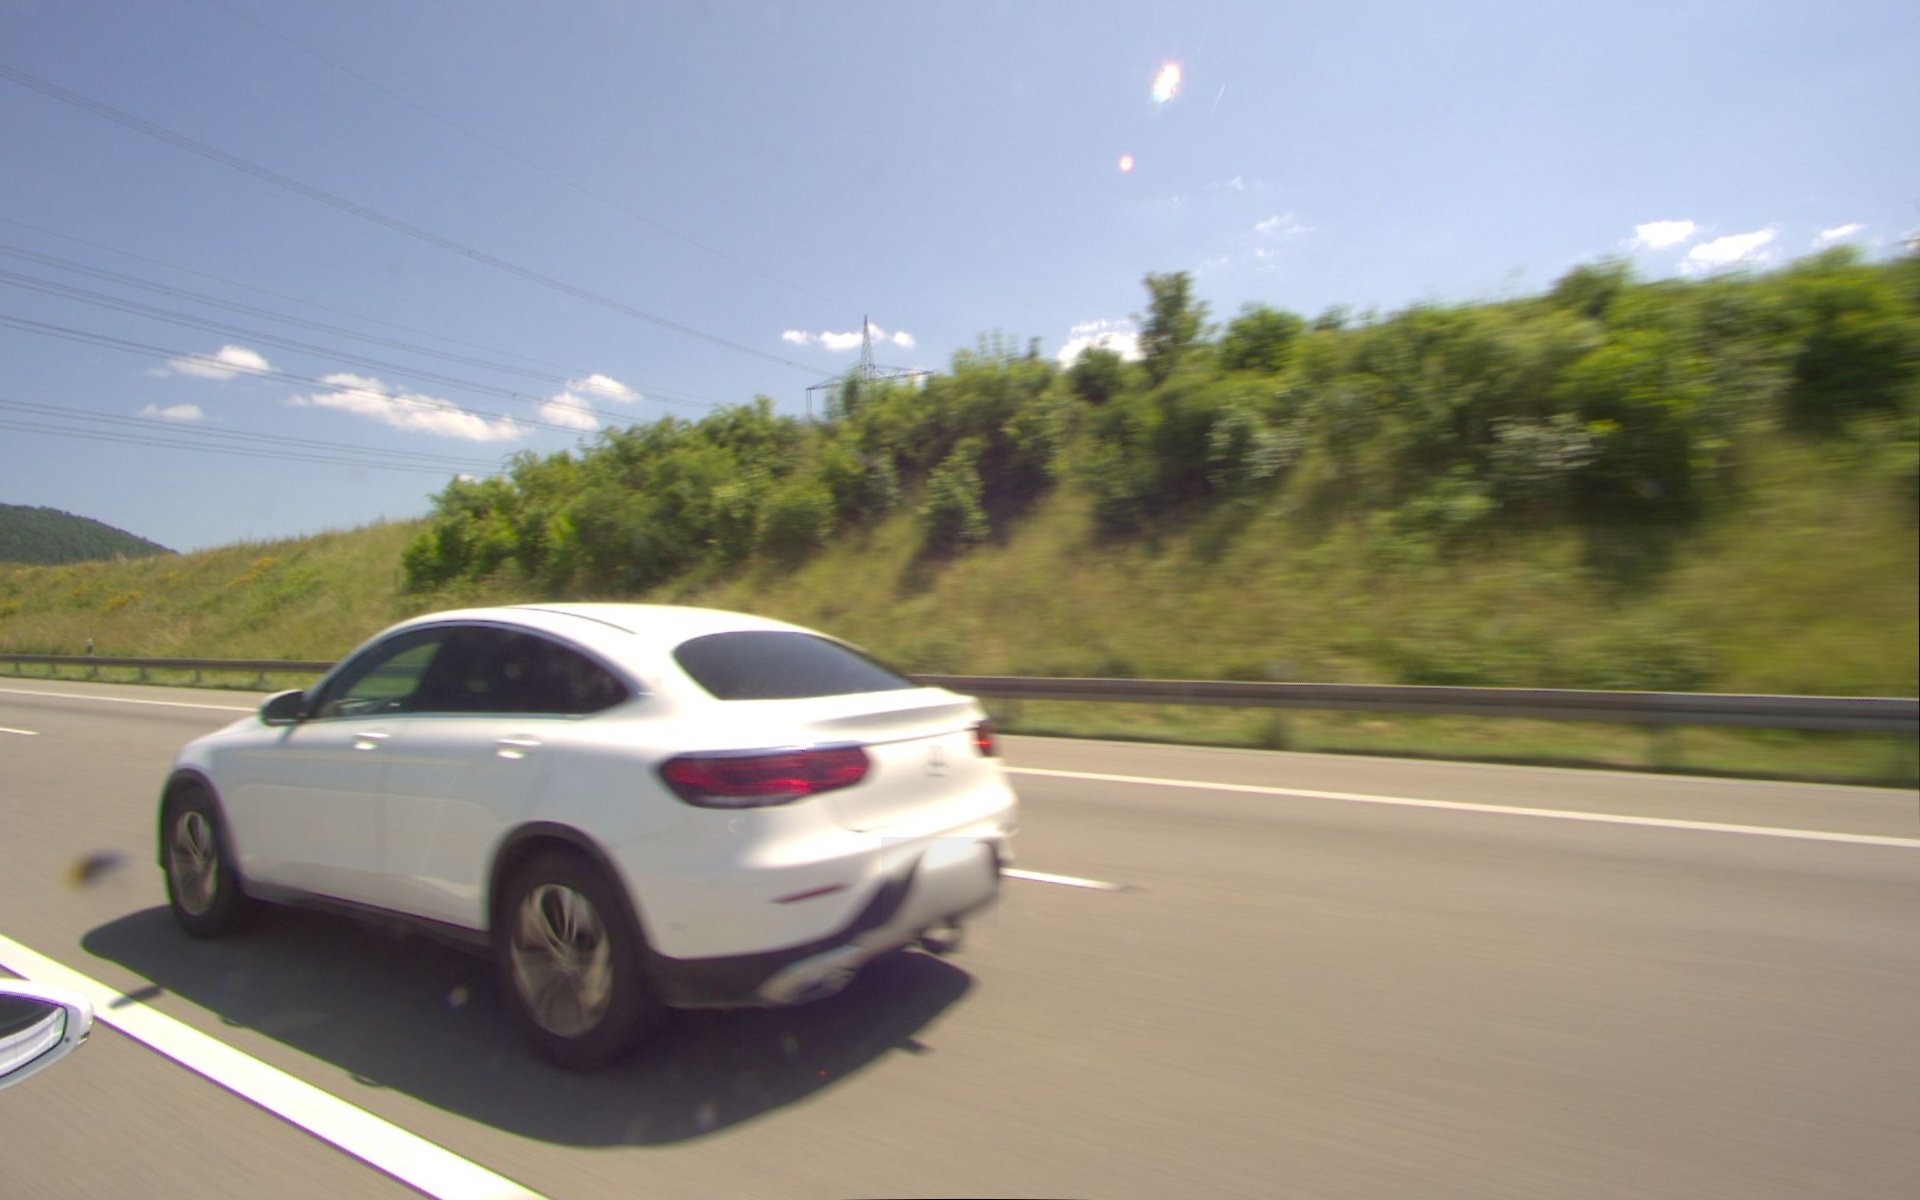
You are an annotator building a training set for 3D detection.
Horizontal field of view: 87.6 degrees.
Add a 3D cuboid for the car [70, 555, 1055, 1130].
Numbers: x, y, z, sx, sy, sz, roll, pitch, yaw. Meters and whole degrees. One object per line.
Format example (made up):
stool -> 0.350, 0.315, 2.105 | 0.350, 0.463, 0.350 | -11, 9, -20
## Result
car -> -2.259, 0.771, 4.998 | 5.157, 1.600, 1.911 | -2, -2, 32
